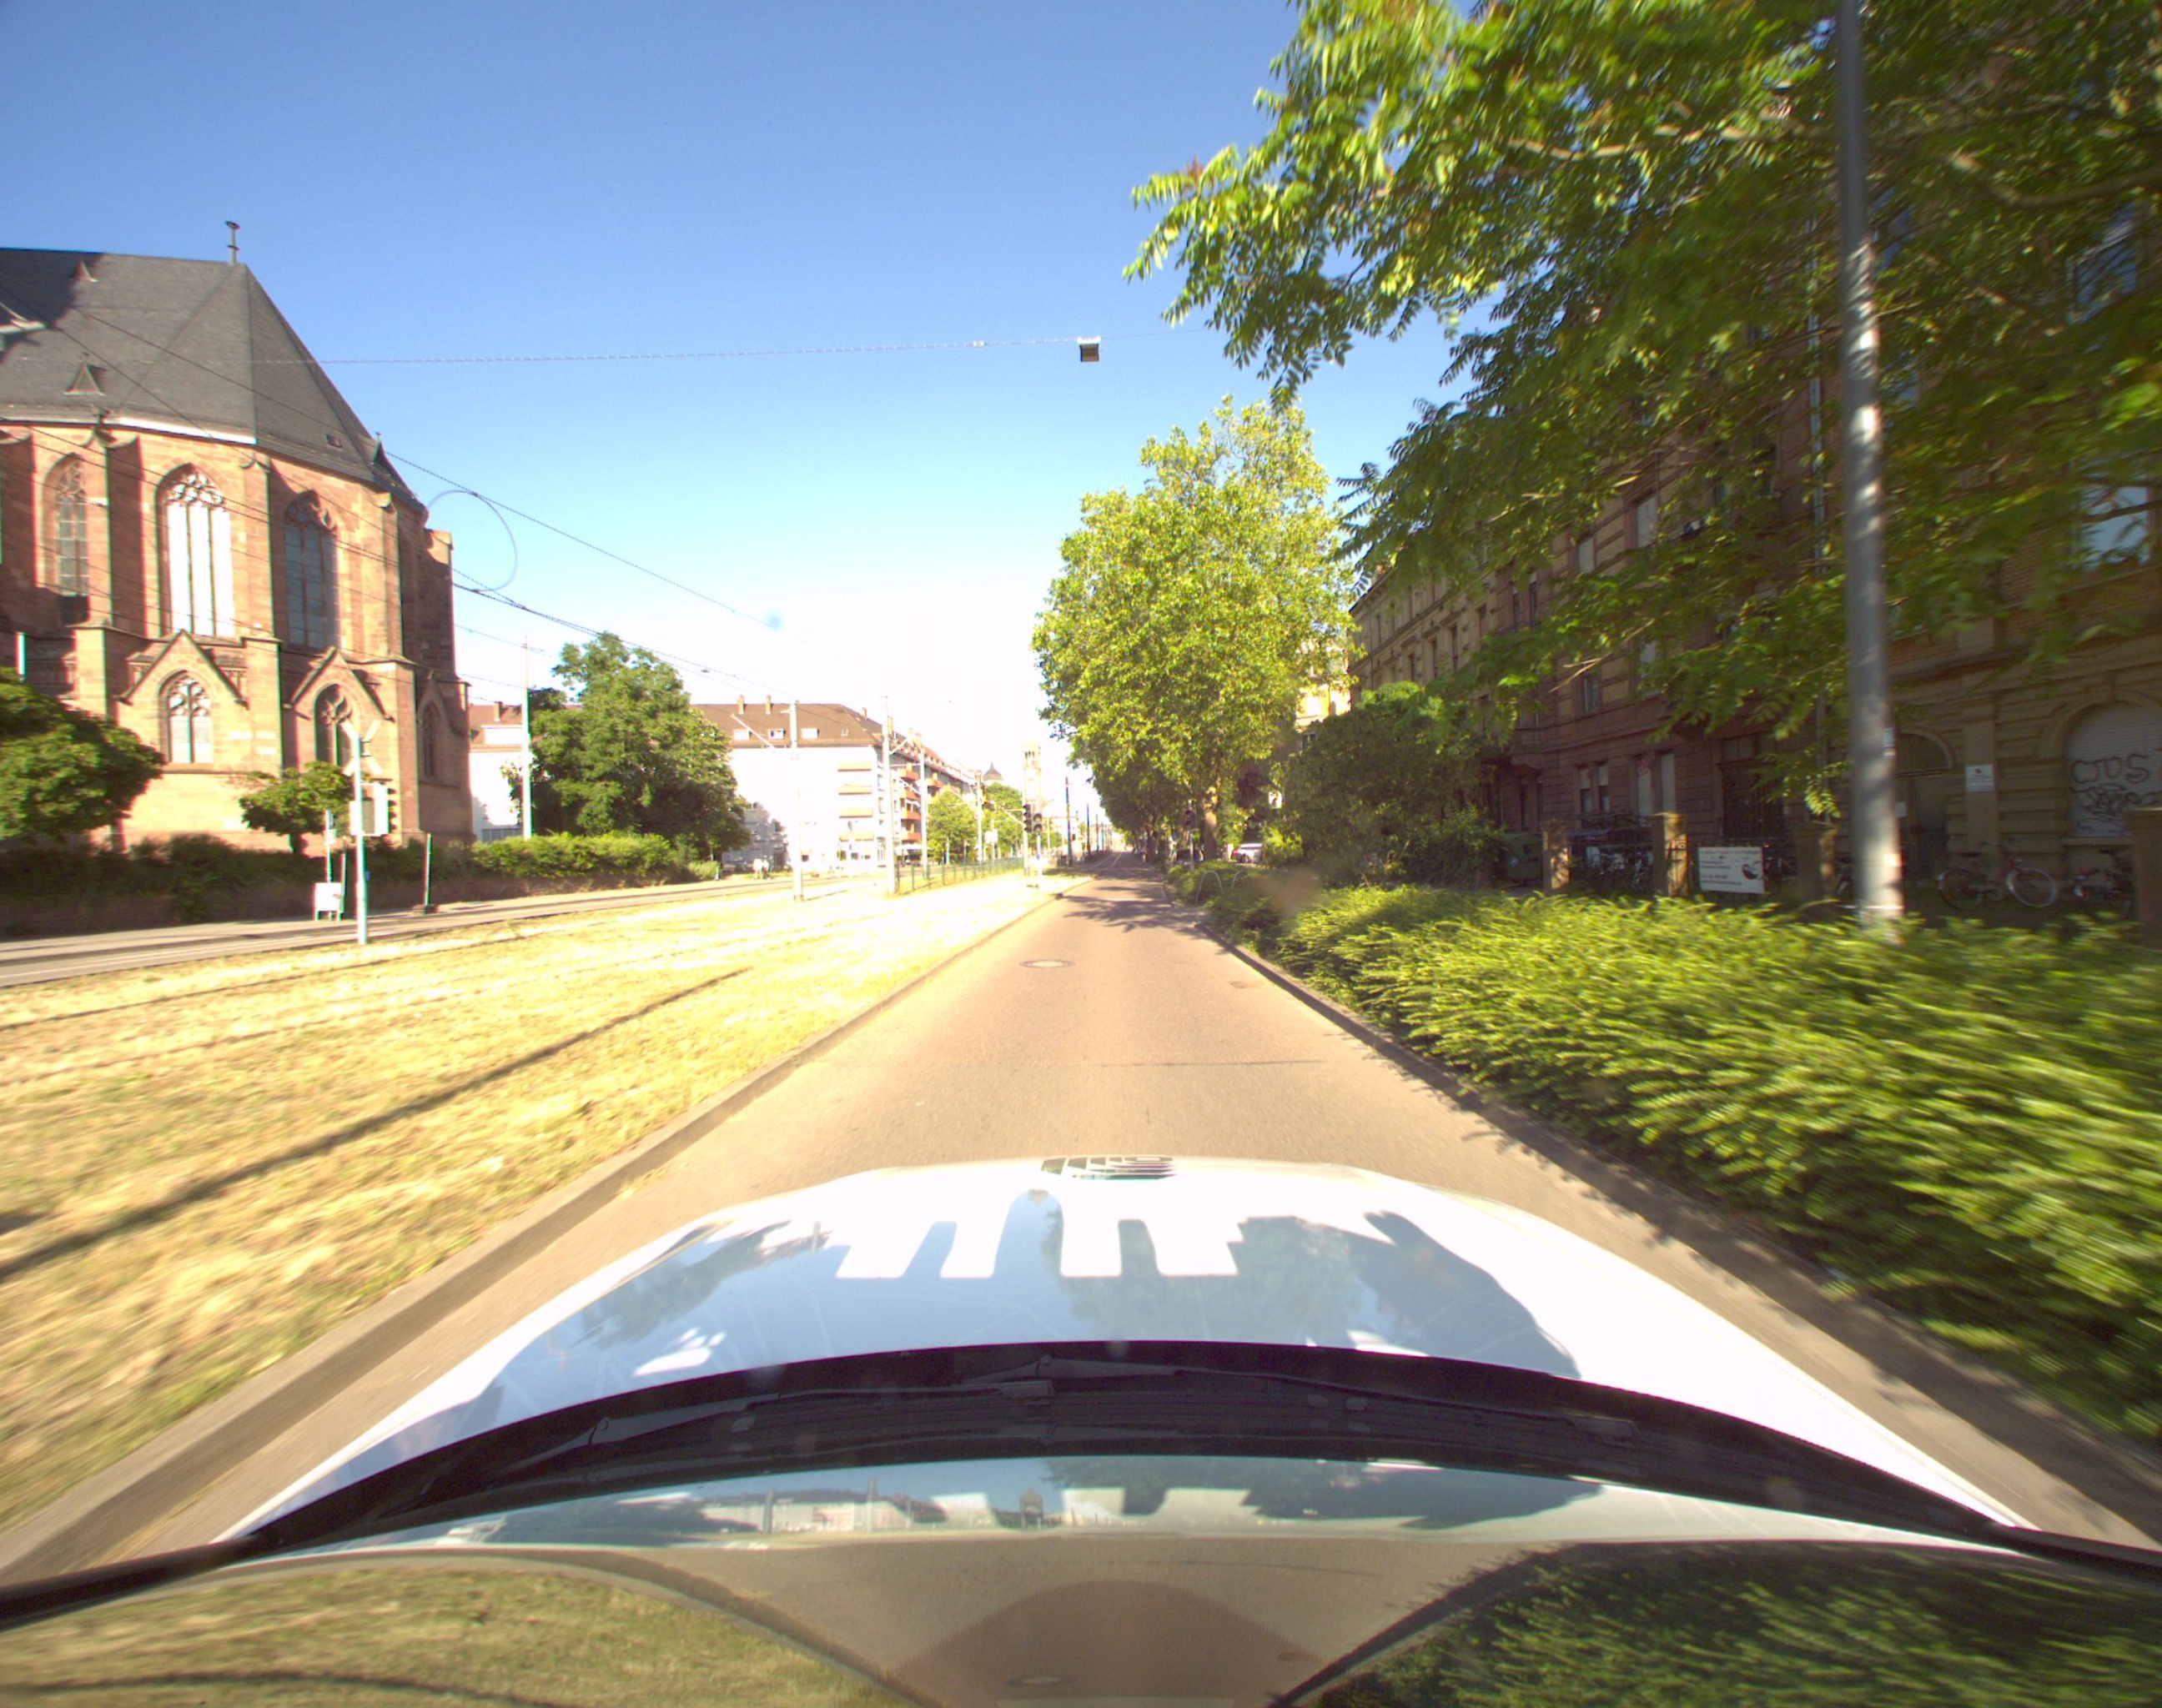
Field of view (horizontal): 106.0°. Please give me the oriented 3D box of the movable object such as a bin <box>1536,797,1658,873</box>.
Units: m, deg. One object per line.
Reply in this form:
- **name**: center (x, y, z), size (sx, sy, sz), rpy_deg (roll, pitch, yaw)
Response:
- **movable object such as a bin**: center (14.984, -0.534, 23.828), size (1.539, 1.996, 3.233), rpy_deg (-3, 1, 2)

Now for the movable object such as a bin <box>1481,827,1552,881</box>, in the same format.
- **movable object such as a bin**: center (11.921, -0.012, 22.342), size (1.227, 1.382, 1.258), rpy_deg (-3, 1, 2)

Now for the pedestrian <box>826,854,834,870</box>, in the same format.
- **pedestrian**: center (-25.061, 0.783, 81.300), size (0.592, 1.467, 0.908), rpy_deg (-5, 3, -27)

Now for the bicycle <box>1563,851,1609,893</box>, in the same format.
- **bicycle**: center (11.009, 0.389, 17.765), size (0.766, 0.854, 0.375), rpy_deg (-3, 3, 0)

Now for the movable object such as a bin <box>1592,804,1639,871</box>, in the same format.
- **movable object such as a bin**: center (14.253, -0.453, 21.726), size (0.751, 1.692, 0.743), rpy_deg (-3, 3, 1)

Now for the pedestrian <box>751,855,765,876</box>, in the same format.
- **pedestrian**: center (-25.399, 0.914, 64.067), size (0.641, 1.598, 0.899), rpy_deg (-3, 3, 3)

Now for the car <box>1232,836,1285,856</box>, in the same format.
- **car**: center (14.047, -0.646, 64.481), size (3.961, 1.420, 2.007), rpy_deg (-3, 1, 11)

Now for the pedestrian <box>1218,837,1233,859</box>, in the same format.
- **pedestrian**: center (11.663, -0.504, 65.811), size (0.812, 1.689, 1.079), rpy_deg (-4, 3, -6)

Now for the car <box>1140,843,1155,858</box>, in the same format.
- **car**: center (9.624, -0.502, 118.207), size (1.985, 2.107, 4.004), rpy_deg (0, 0, 4)

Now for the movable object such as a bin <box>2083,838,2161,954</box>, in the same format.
- **movable object such as a bin**: center (10.575, 0.398, 7.972), size (0.594, 1.059, 0.652), rpy_deg (-6, -2, 3)

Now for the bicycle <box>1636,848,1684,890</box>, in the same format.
- **bicycle**: center (12.592, 0.320, 17.726), size (0.766, 0.854, 0.375), rpy_deg (-3, 3, 0)

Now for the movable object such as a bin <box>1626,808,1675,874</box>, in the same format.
- **movable object such as a bin**: center (15.205, -0.360, 21.756), size (0.751, 1.692, 0.743), rpy_deg (-3, 3, 1)

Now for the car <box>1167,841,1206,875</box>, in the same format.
- **car**: center (5.298, 0.167, 41.223), size (1.636, 1.511, 4.187), rpy_deg (-3, 1, 4)

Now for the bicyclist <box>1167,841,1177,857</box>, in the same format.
- **bicyclist**: center (9.110, -0.502, 81.513), size (0.748, 1.557, 0.572), rpy_deg (-4, 3, -5)

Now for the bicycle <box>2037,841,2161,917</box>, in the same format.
- **bicycle**: center (14.131, 0.328, 11.026), size (1.721, 0.924, 0.443), rpy_deg (-3, 3, 6)

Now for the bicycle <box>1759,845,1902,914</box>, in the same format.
- **bicycle**: center (11.467, 0.385, 12.494), size (1.645, 0.924, 0.539), rpy_deg (-3, 3, 4)

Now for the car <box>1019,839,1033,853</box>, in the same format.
- **car**: center (-9.157, -1.343, 136.632), size (1.987, 2.013, 4.001), rpy_deg (-3, 3, 0)

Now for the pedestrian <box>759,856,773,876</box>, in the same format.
- **pedestrian**: center (-24.748, 0.944, 64.052), size (0.586, 1.467, 0.917), rpy_deg (-3, 3, 3)

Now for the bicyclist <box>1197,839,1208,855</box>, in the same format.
- **bicyclist**: center (10.934, -0.616, 73.258), size (0.812, 1.404, 0.823), rpy_deg (-4, 3, -6)

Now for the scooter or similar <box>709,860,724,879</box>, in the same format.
- **scooter or similar**: center (-27.269, 1.140, 60.876), size (0.399, 1.261, 1.232), rpy_deg (-3, 3, 4)

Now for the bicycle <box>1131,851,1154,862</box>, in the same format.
- **bicycle**: center (6.101, 0.212, 80.812), size (2.232, 0.976, 0.683), rpy_deg (-2, 3, 2)

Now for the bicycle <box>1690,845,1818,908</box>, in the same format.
- **bicycle**: center (11.248, 0.369, 13.632), size (1.645, 0.924, 0.539), rpy_deg (-3, 3, 4)

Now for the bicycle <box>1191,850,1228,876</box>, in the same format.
- **bicycle**: center (5.885, 0.394, 37.246), size (1.605, 1.025, 0.537), rpy_deg (-5, 3, -27)

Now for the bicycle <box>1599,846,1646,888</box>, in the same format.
- **bicycle**: center (11.804, 0.275, 17.767), size (0.766, 0.854, 0.375), rpy_deg (-3, 3, 0)

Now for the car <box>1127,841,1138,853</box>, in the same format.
- **car**: center (9.537, -1.242, 150.821), size (1.985, 2.107, 4.004), rpy_deg (0, 0, 4)

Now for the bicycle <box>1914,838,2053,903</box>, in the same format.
- **bicycle**: center (14.284, 0.255, 12.915), size (1.588, 0.924, 0.443), rpy_deg (-3, 3, 6)

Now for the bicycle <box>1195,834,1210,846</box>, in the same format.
- **bicycle**: center (10.903, -1.300, 73.136), size (0.812, 0.957, 2.313), rpy_deg (-4, 3, -5)

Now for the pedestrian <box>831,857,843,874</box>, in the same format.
- **pedestrian**: center (-21.681, 1.001, 72.332), size (0.685, 1.467, 0.592), rpy_deg (-3, 3, 6)

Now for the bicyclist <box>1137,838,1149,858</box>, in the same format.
- **bicyclist**: center (6.135, -0.588, 80.774), size (1.136, 1.890, 0.683), rpy_deg (-3, 3, 3)
